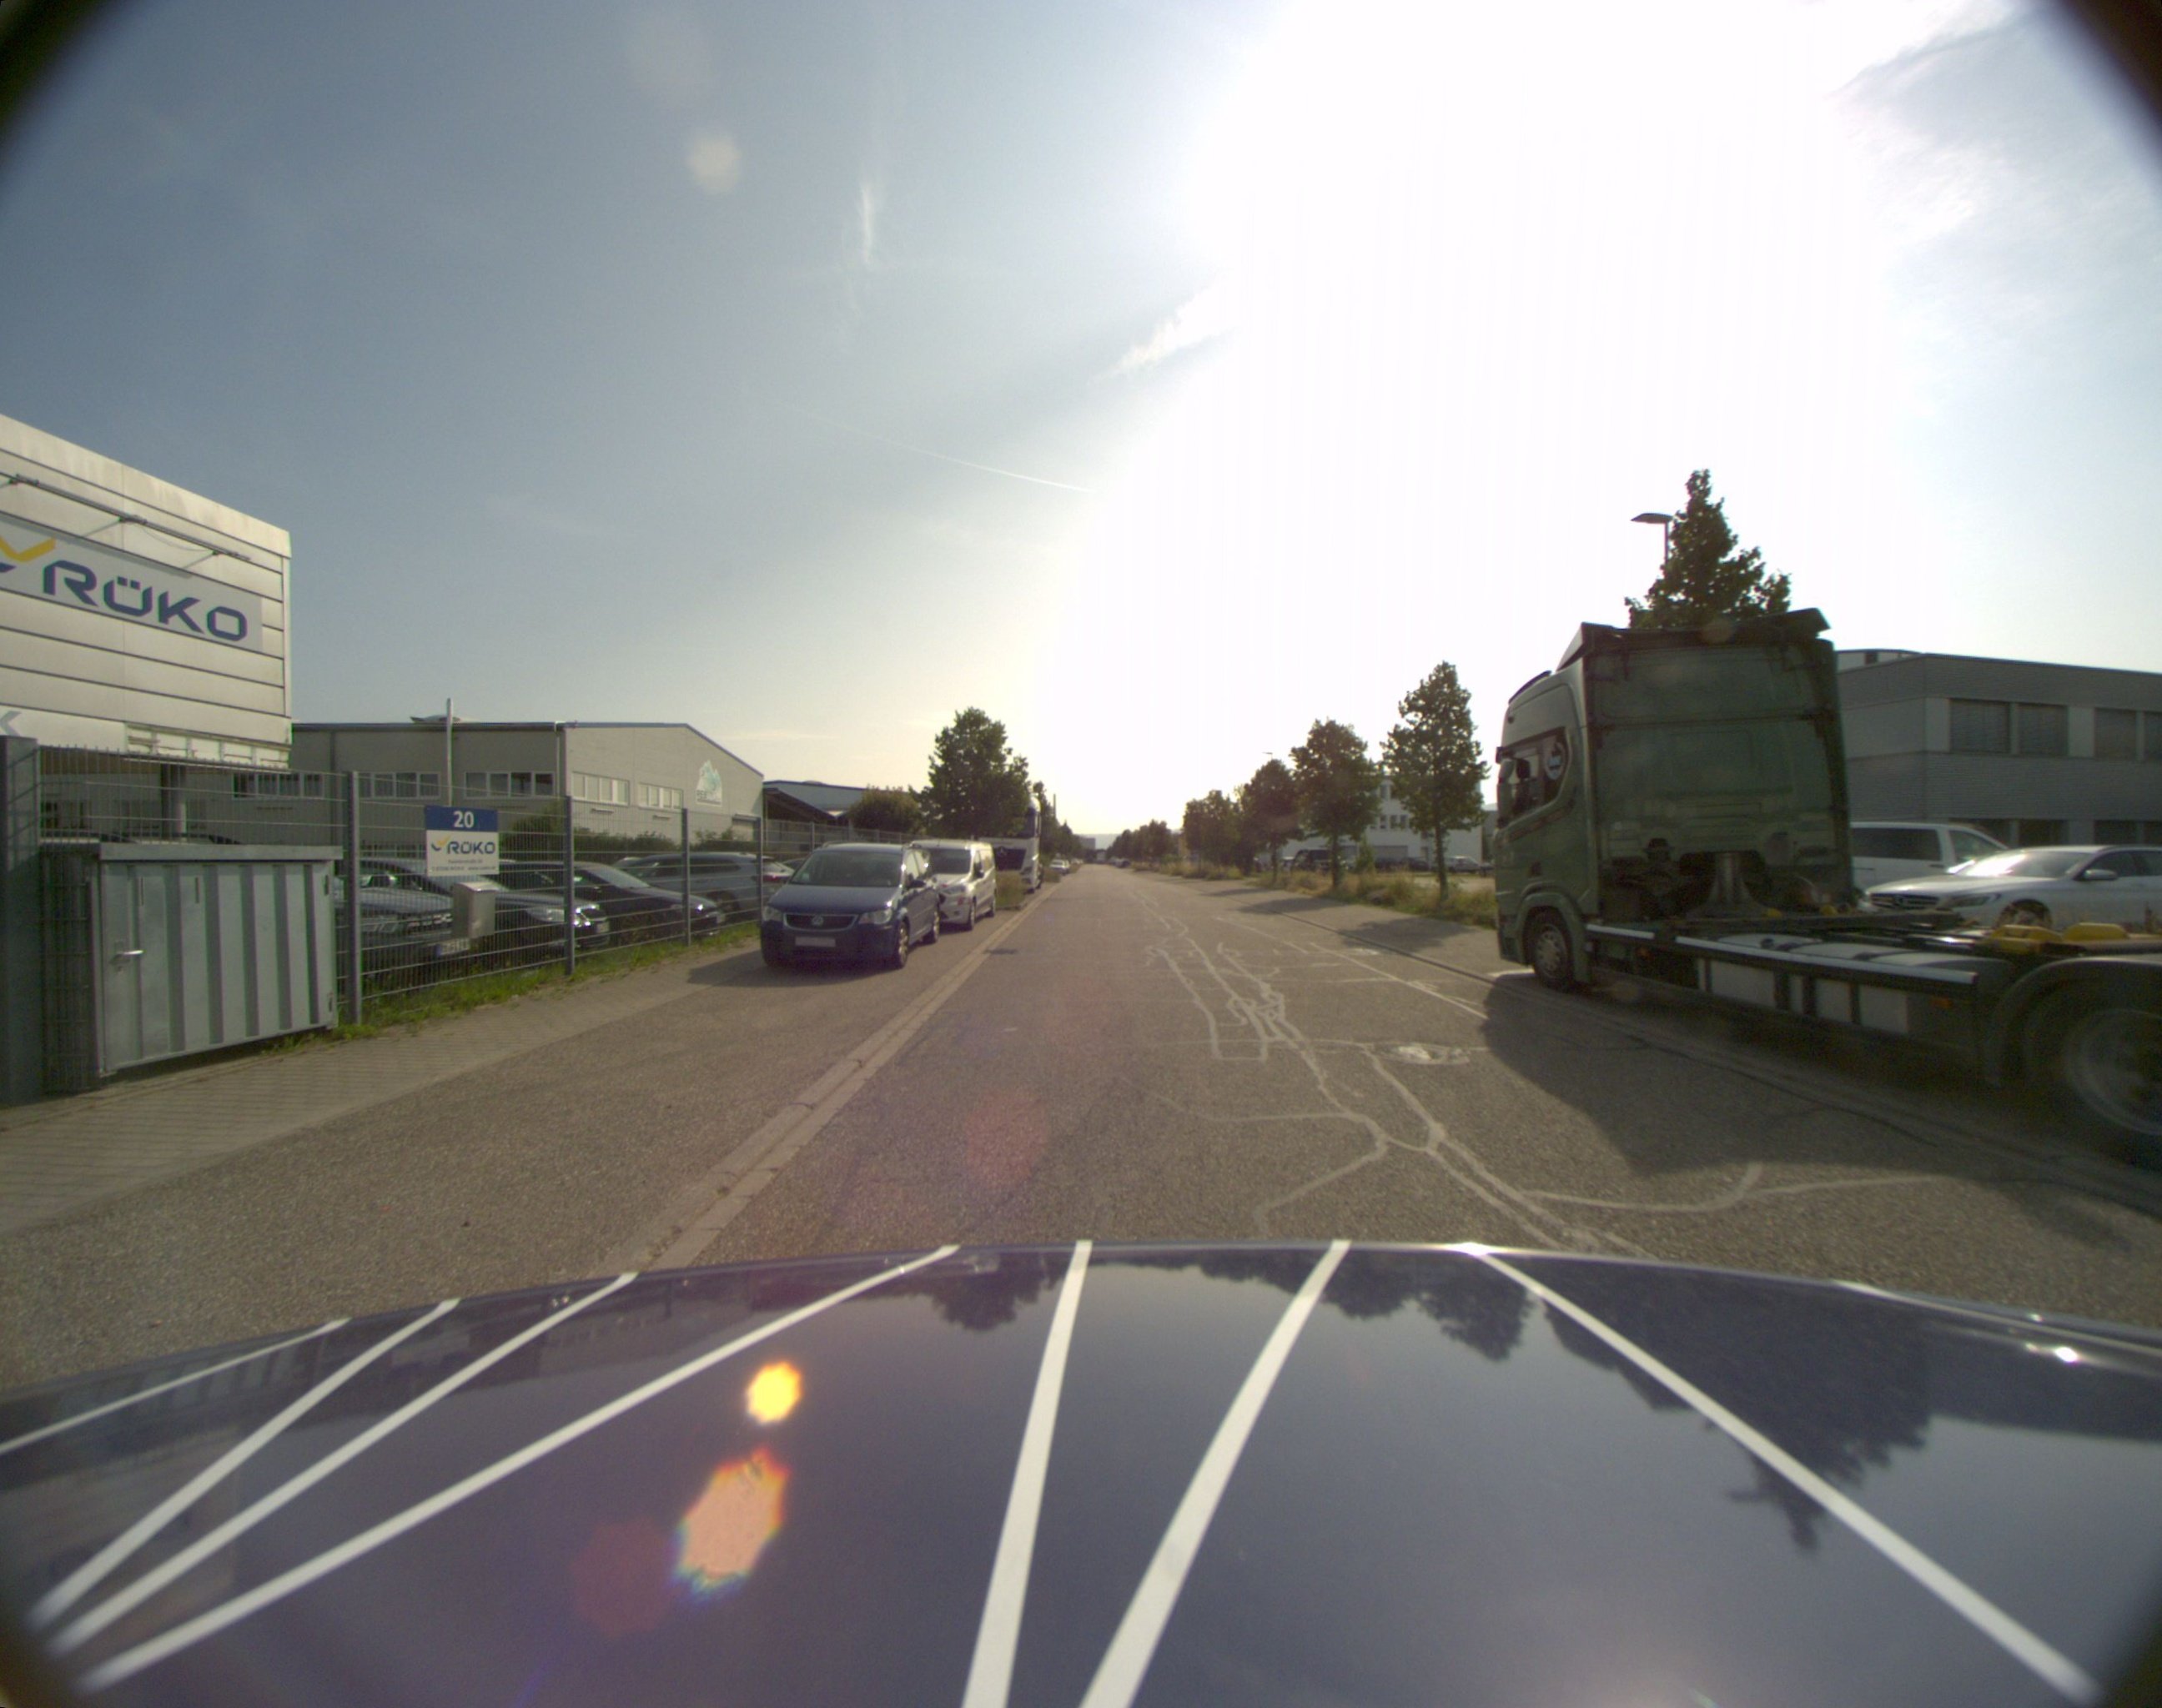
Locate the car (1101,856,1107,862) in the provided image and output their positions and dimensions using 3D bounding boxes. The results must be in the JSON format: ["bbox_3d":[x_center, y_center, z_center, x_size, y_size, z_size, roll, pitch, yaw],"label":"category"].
[{"bbox_3d":[6.379,1.361,209.800,1.668,1.495,3.540,-1,1,0],"label":"car"}]

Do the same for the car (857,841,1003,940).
[{"bbox_3d":[-2.991,0.637,16.147,1.998,1.779,4.600,-1,1,2],"label":"car"}]

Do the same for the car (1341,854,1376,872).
[{"bbox_3d":[25.709,0.813,70.486,1.910,1.609,3.919,0,0,2],"label":"car"}]

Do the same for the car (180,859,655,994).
[{"bbox_3d":[-8.033,0.830,9.581,4.236,1.486,1.899,0,-1,-3],"label":"car"}]

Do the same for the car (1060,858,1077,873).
[{"bbox_3d":[-1.329,1.222,82.862,1.694,1.495,3.541,2,0,0],"label":"car"}]

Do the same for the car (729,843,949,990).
[{"bbox_3d":[-3.219,0.714,11.090,1.830,1.710,4.248,-1,1,0],"label":"car"}]

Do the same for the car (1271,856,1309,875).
[{"bbox_3d":[16.069,0.883,58.700,1.790,1.441,3.918,0,0,-1],"label":"car"}]

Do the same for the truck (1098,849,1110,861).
[{"bbox_3d":[7.808,0.441,258.608,3.413,4.017,10.395,-2,0,0],"label":"truck"}]

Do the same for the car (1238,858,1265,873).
[{"bbox_3d":[15.902,1.060,70.955,1.758,1.401,3.919,0,0,2],"label":"car"}]

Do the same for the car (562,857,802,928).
[{"bbox_3d":[-8.116,0.758,15.757,3.998,1.363,1.790,0,0,-4],"label":"car"}]

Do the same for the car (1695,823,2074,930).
[{"bbox_3d":[14.540,0.388,14.014,4.716,1.825,2.103,0,0,1],"label":"car"}]

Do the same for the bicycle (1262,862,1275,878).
[{"bbox_3d":[12.118,1.017,49.069,0.541,0.973,1.871,0,0,5],"label":"bicycle"}]

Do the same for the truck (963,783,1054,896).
[{"bbox_3d":[-2.800,-0.489,32.345,2.752,3.991,9.686,2,0,0],"label":"truck"}]

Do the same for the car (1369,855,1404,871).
[{"bbox_3d":[28.275,0.802,70.346,1.758,1.459,3.919,0,0,2],"label":"car"}]

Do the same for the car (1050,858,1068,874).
[{"bbox_3d":[-2.135,1.194,74.405,1.668,1.495,3.541,2,0,0],"label":"car"}]

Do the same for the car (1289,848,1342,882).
[{"bbox_3d":[14.793,0.692,48.246,1.886,2.001,4.991,0,0,1],"label":"car"}]

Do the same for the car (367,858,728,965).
[{"bbox_3d":[-8.077,0.830,11.865,4.236,1.486,1.899,0,-1,-3],"label":"car"}]

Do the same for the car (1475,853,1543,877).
[{"bbox_3d":[27.186,0.707,48.475,1.719,1.452,4.782,-1,0,1],"label":"car"}]

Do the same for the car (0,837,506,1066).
[{"bbox_3d":[-8.033,0.750,6.764,4.238,1.727,1.898,-1,0,-7],"label":"car"}]

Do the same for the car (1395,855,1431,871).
[{"bbox_3d":[30.552,0.798,70.032,1.758,1.459,3.919,0,0,2],"label":"car"}]

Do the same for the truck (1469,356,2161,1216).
[{"bbox_3d":[6.144,-0.336,4.950,2.461,3.859,9.803,-2,1,2],"label":"truck"}]

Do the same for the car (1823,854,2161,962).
[{"bbox_3d":[14.374,0.733,11.320,4.739,1.422,2.000,-1,0,-1],"label":"car"}]

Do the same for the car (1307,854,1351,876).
[{"bbox_3d":[18.825,0.786,57.853,1.947,1.597,4.509,0,0,0],"label":"car"}]

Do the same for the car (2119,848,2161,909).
[{"bbox_3d":[27.454,0.610,17.130,1.580,1.472,4.518,0,1,-15],"label":"car"}]

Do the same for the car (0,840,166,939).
[{"bbox_3d":[-22.938,0.742,16.308,4.367,1.990,1.895,-1,0,2],"label":"car"}]

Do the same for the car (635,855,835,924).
[{"bbox_3d":[-8.264,0.819,18.449,3.998,1.469,1.790,-2,0,-4],"label":"car"}]

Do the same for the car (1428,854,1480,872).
[{"bbox_3d":[28.765,0.686,58.797,1.737,1.364,4.382,0,0,-3],"label":"car"}]
